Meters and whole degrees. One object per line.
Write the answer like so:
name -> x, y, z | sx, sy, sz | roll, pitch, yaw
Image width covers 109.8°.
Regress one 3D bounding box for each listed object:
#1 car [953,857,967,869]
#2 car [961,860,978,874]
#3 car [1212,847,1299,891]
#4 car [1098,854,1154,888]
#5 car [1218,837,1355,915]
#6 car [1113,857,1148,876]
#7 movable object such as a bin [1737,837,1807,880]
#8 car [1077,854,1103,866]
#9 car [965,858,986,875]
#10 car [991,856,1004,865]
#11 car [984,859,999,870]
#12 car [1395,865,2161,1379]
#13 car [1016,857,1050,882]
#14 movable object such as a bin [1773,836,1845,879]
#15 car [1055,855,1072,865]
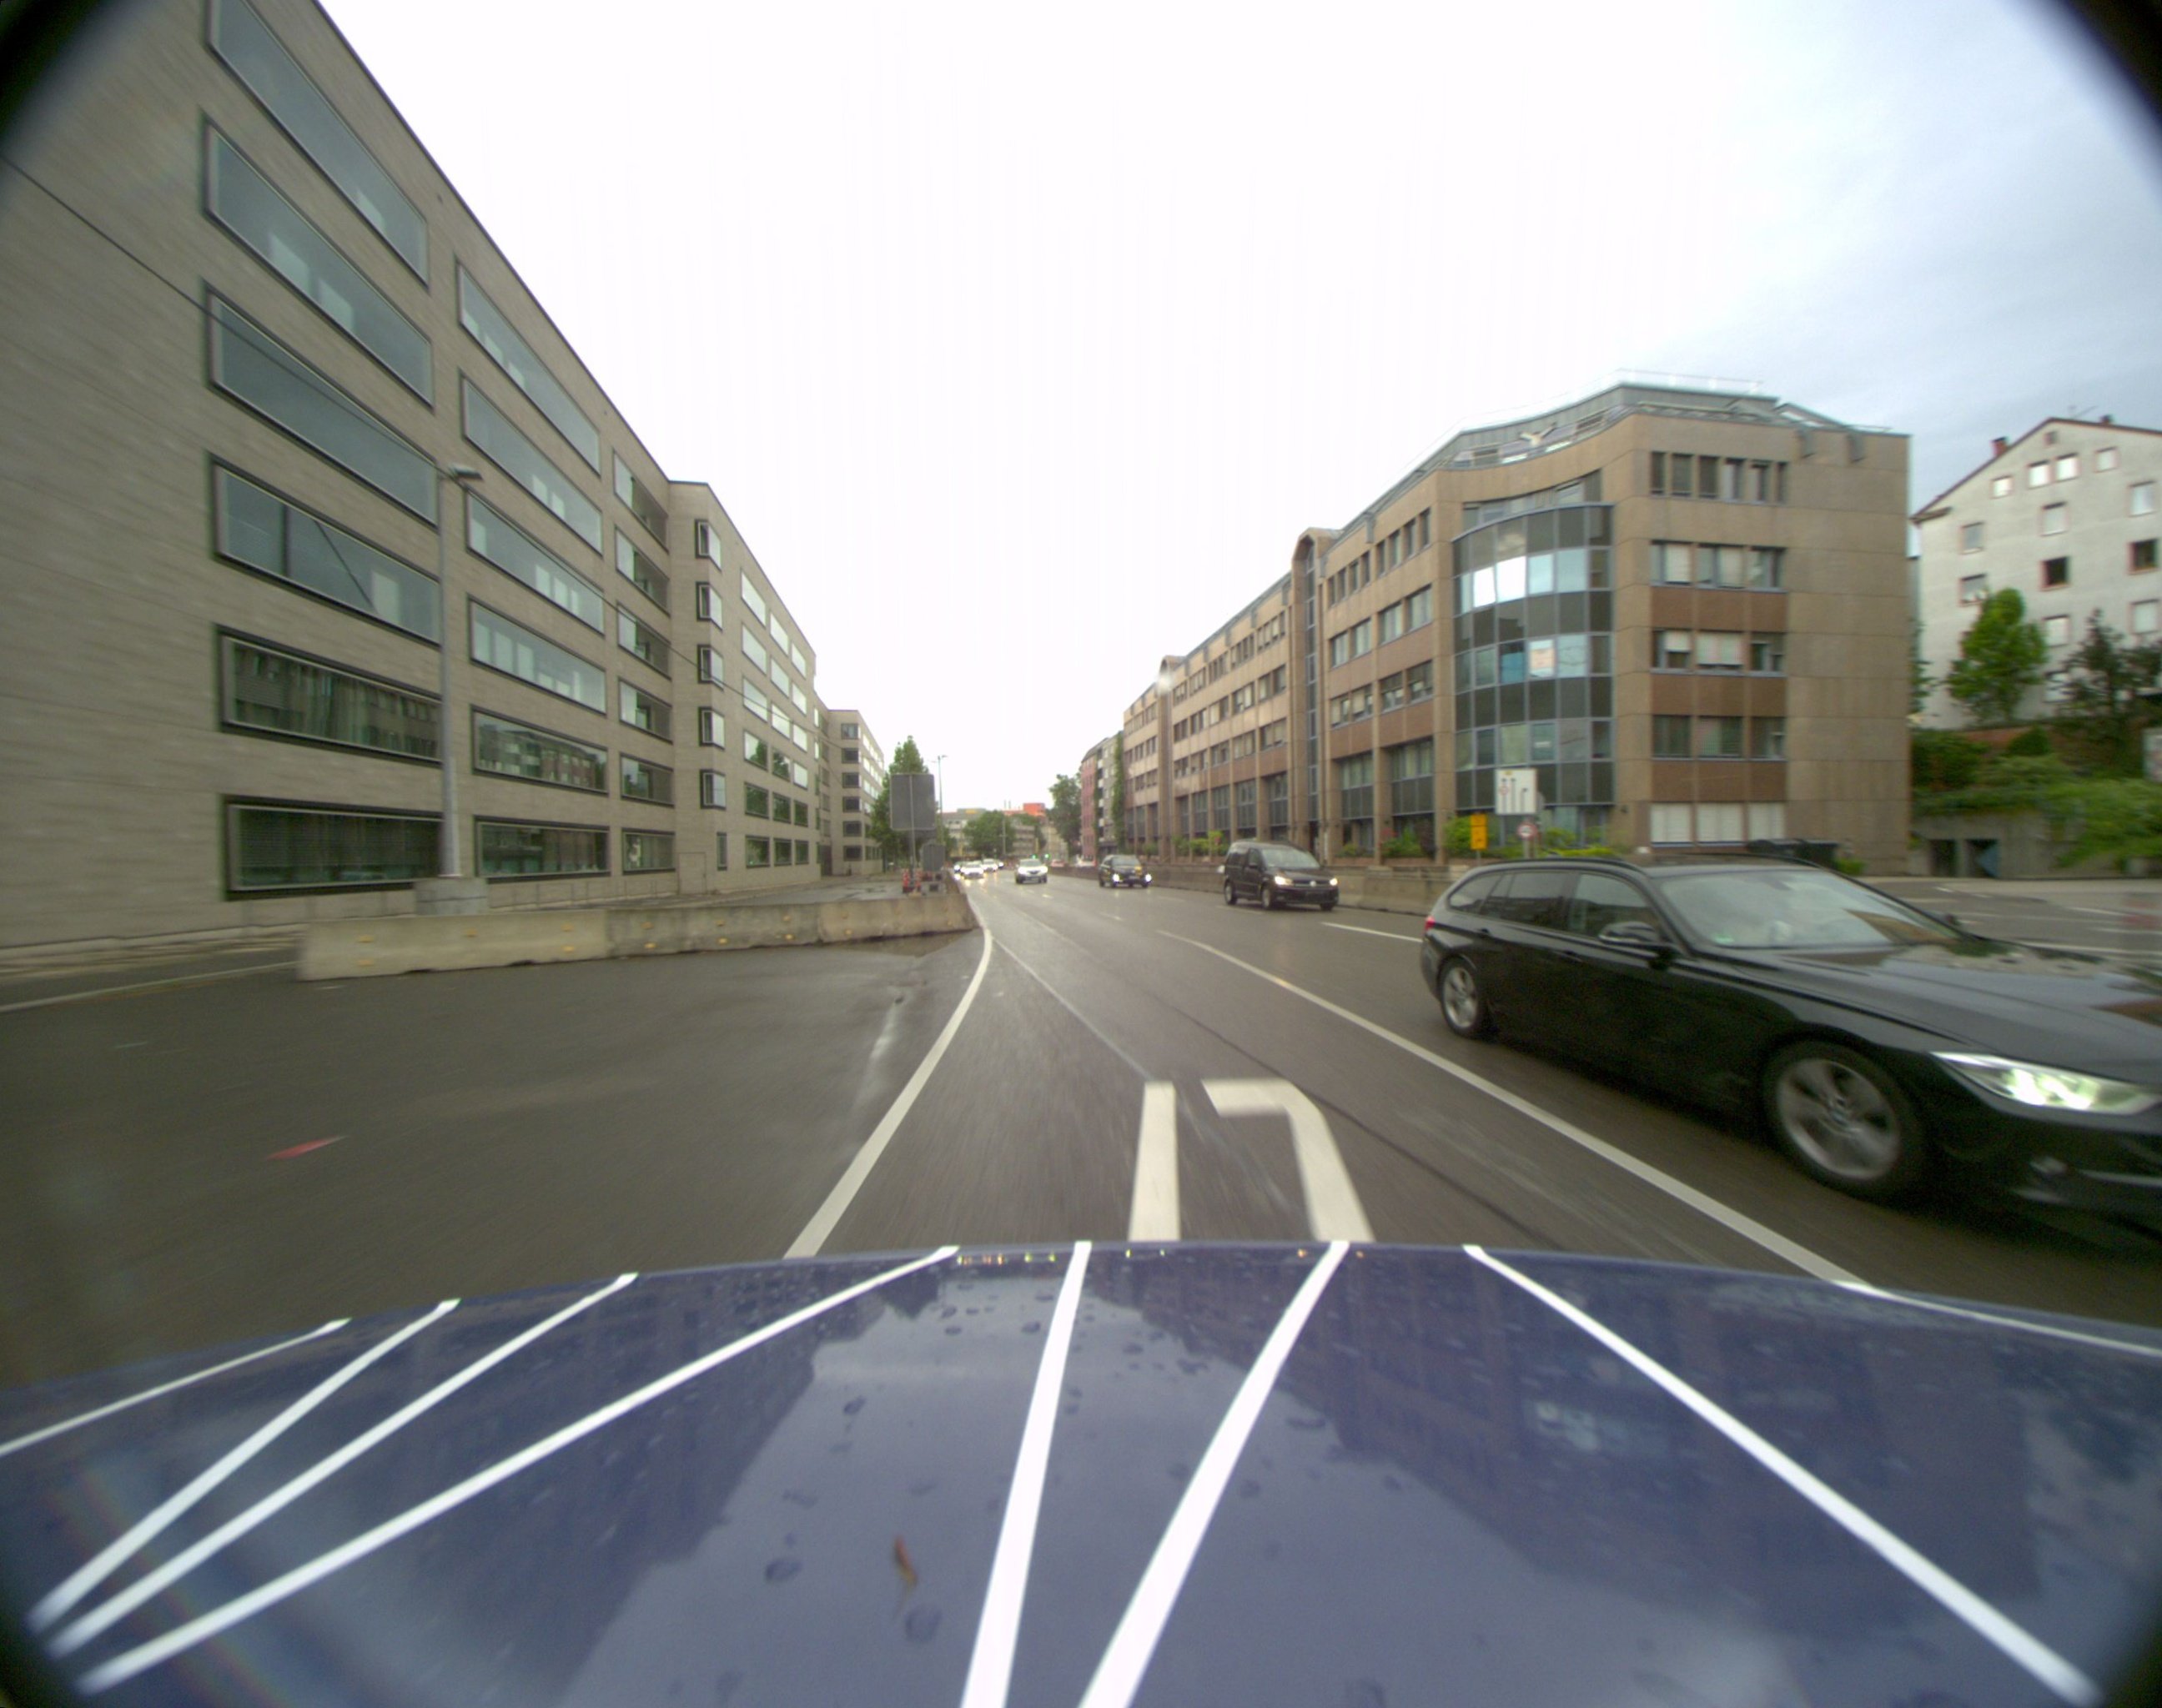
car -> -16.450, 1.170, 103.196 | 1.774, 1.524, 4.652 | -1, 0, -10
car -> -12.788, 1.423, 86.947 | 1.774, 1.524, 4.652 | -1, 0, -10
car -> 7.527, 0.628, 33.345 | 1.892, 1.773, 4.872 | -1, 0, -11
car -> 2.148, 0.787, 37.462 | 1.774, 1.524, 4.352 | -1, 0, -10
car -> 5.254, 0.527, 20.039 | 1.800, 1.790, 4.247 | -2, 0, -10
car -> 3.481, 0.879, 54.487 | 1.618, 1.224, 3.723 | -1, 0, -10
movable object such as a bin -> 24.625, 0.166, 27.093 | 1.246, 1.471, 1.350 | -1, 0, -3
car -> 0.939, 0.687, 84.589 | 1.851, 1.262, 4.544 | -1, 0, -13
car -> -10.016, 1.177, 72.174 | 1.774, 1.524, 4.652 | -1, 0, -10
car -> -13.842, 1.059, 125.960 | 1.774, 1.524, 4.652 | -1, 0, -10
car -> -12.253, 1.425, 103.702 | 1.774, 1.524, 4.652 | -1, 0, -10
car -> 3.872, 0.823, 4.482 | 1.773, 1.435, 4.654 | -1, 0, -5
car -> -3.271, 1.002, 51.074 | 1.774, 1.524, 4.652 | -1, 0, -10
movable object such as a bin -> 25.985, 0.110, 27.147 | 1.246, 1.471, 1.350 | -1, 0, -3
car -> -2.455, 0.850, 105.618 | 1.725, 1.312, 3.693 | -1, 0, -10
